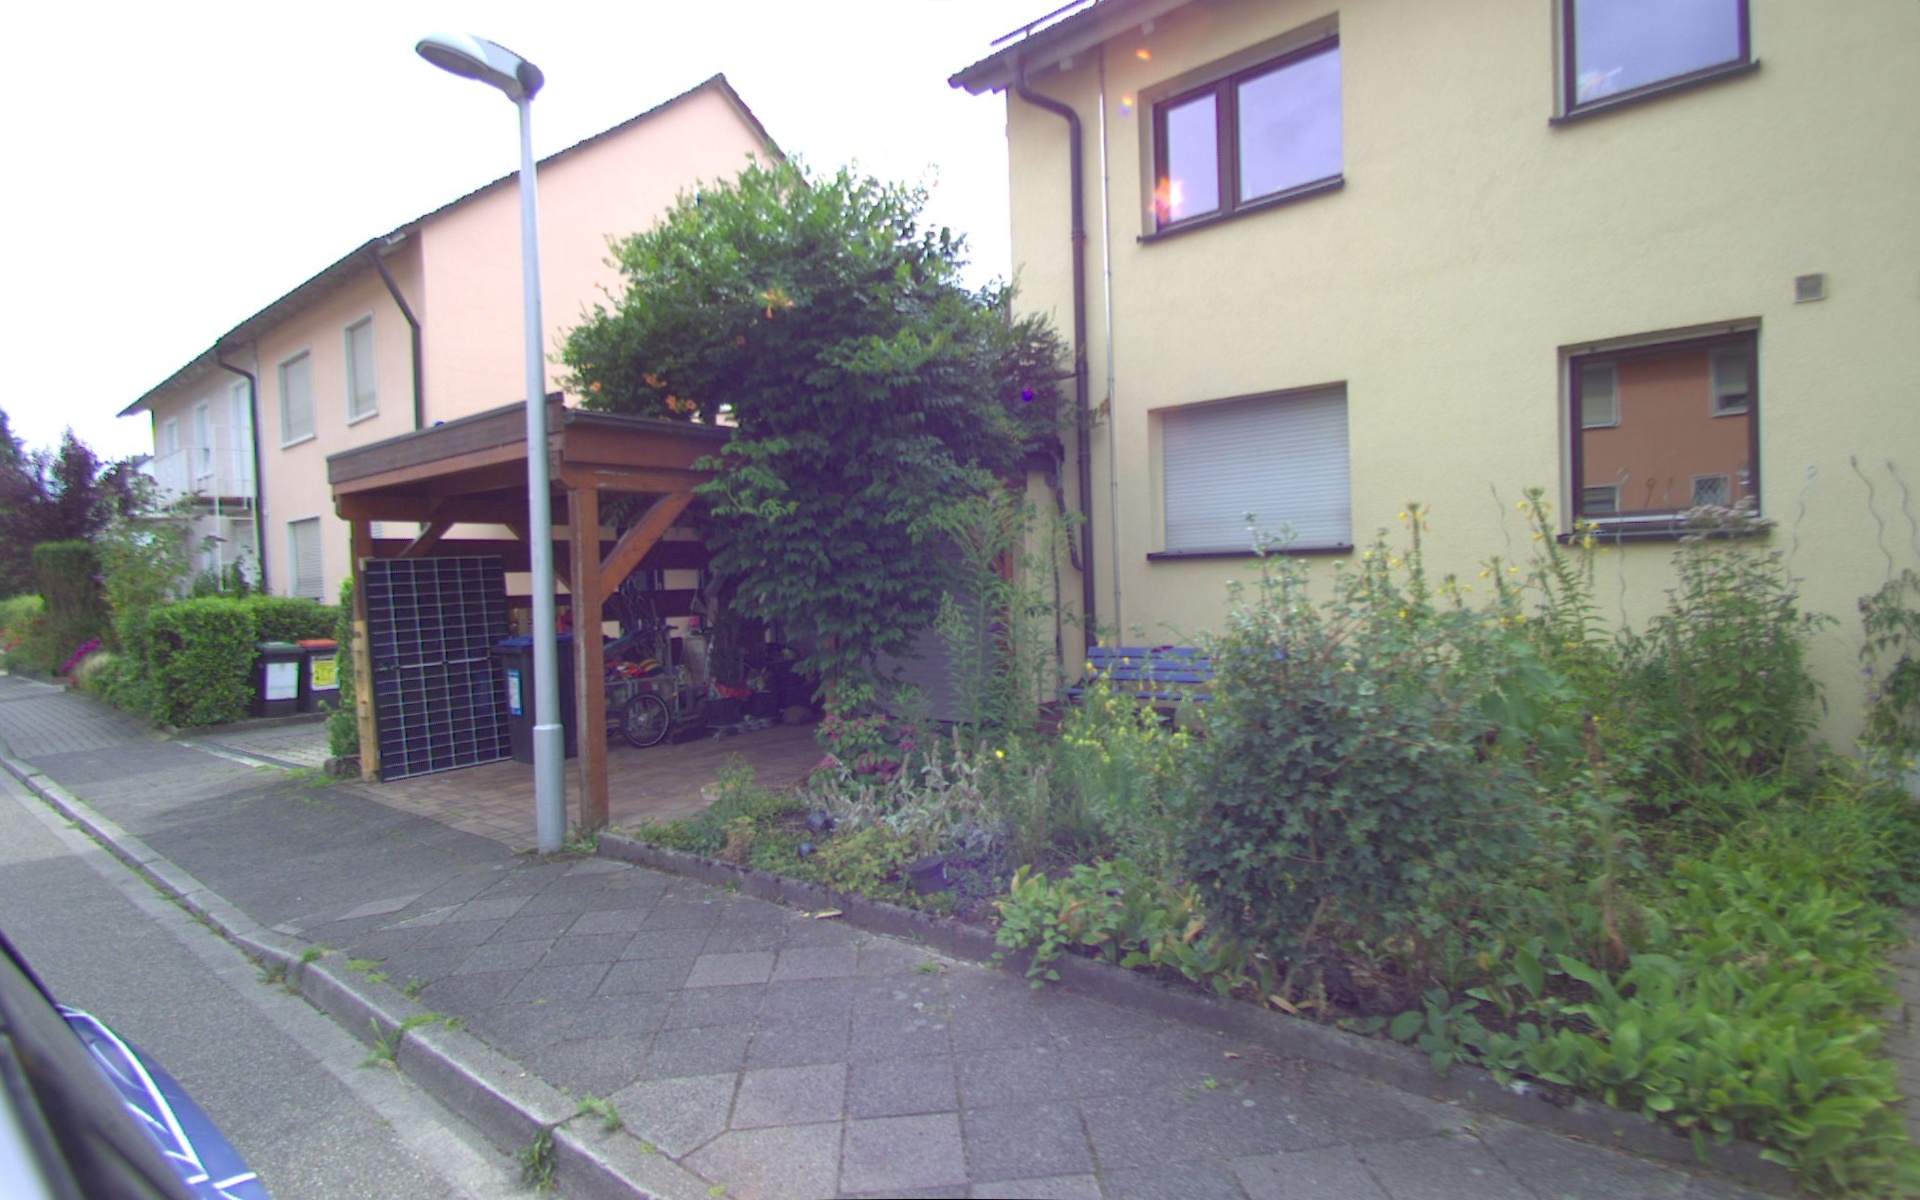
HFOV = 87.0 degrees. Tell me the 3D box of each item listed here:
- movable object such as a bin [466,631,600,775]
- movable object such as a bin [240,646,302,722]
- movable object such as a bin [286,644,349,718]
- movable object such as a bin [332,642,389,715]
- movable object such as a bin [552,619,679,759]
[{"bbox_3d":[-3.572,0.824,8.468,0.822,1.079,0.697,-1,2,41],"label":"movable object such as a bin"},{"bbox_3d":[-8.631,1.038,12.679,0.530,0.888,0.490,-2,1,41],"label":"movable object such as a bin"},{"bbox_3d":[-8.334,1.040,13.129,0.534,0.886,0.532,-2,1,41],"label":"movable object such as a bin"},{"bbox_3d":[-8.023,1.039,13.535,0.583,0.910,0.475,-1,0,41],"label":"movable object such as a bin"},{"bbox_3d":[-3.075,0.756,9.030,0.877,1.138,0.696,-1,1,41],"label":"movable object such as a bin"}]
